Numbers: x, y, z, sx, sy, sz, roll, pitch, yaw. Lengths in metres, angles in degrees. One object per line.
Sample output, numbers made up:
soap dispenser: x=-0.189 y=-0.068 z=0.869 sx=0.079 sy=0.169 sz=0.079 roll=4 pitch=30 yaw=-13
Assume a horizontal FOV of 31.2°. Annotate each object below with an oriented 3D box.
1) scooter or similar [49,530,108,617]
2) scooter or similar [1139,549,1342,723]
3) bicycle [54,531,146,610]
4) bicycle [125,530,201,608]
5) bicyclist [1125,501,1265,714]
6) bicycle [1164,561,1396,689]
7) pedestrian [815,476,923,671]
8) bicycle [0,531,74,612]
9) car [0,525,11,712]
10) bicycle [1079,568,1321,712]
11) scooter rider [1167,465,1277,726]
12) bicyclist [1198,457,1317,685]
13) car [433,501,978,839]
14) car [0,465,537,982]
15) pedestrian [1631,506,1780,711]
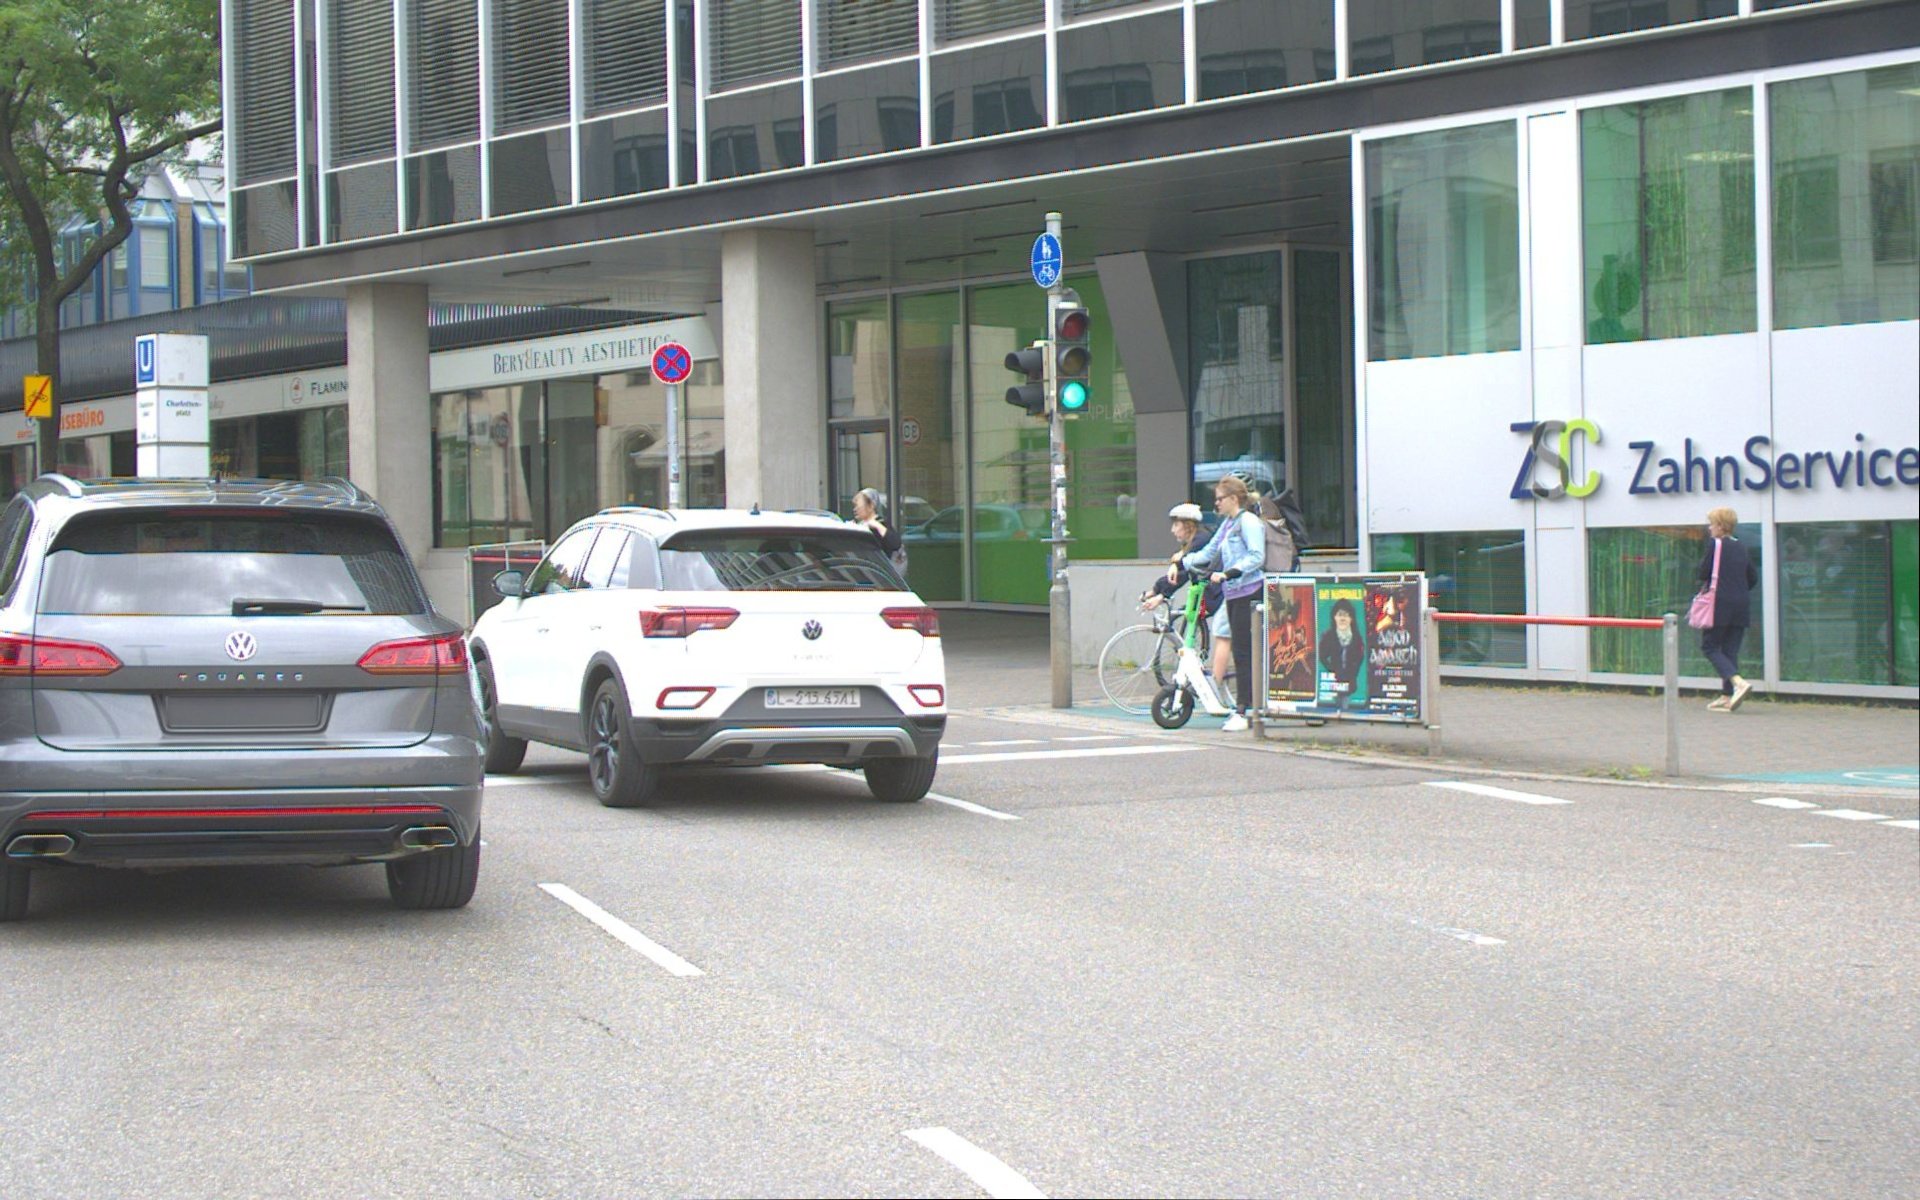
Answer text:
scooter or similar: x=-12.726 y=-0.385 z=49.634 sx=0.996 sy=1.247 sz=0.306 roll=1 pitch=2 yaw=42
scooter or similar: x=1.976 y=0.250 z=24.139 sx=1.320 sy=1.172 sz=0.593 roll=-1 pitch=2 yaw=13
bicycle: x=-12.555 y=-0.440 z=50.168 sx=0.489 sy=1.128 sz=1.886 roll=-2 pitch=2 yaw=-41
bicycle: x=-11.727 y=-0.464 z=50.539 sx=0.489 sy=1.128 sz=1.688 roll=-1 pitch=2 yaw=-35
bicyclist: x=1.746 y=0.052 z=25.471 sx=0.845 sy=1.544 sz=0.565 roll=-1 pitch=2 yaw=26
bicycle: x=2.615 y=0.196 z=28.092 sx=1.763 sy=1.003 sz=0.680 roll=0 pitch=2 yaw=20
pedestrian: x=-0.815 y=-0.233 z=30.713 sx=0.525 sy=1.705 sz=0.753 roll=-4 pitch=1 yaw=-41
bicycle: x=-13.399 y=-0.423 z=49.674 sx=0.489 sy=1.128 sz=1.843 roll=-2 pitch=2 yaw=-36
car: x=-8.791 y=0.054 z=27.196 sx=1.833 sy=1.390 sz=4.149 roll=0 pitch=3 yaw=-25
bicycle: x=1.775 y=0.296 z=25.471 sx=1.666 sy=1.023 sz=0.581 roll=-1 pitch=2 yaw=26
scooter rider: x=1.844 y=-0.037 z=24.158 sx=0.642 sy=1.802 sz=0.593 roll=-1 pitch=2 yaw=13
bicyclist: x=2.439 y=-0.241 z=28.126 sx=0.812 sy=1.839 sz=0.674 roll=0 pitch=2 yaw=19
car: x=-1.518 y=0.283 z=19.007 sx=1.797 sy=1.540 sz=3.937 roll=-2 pitch=3 yaw=-23
car: x=-3.089 y=0.333 z=13.746 sx=1.969 sy=1.689 sz=4.226 roll=-2 pitch=3 yaw=-18
pedestrian: x=5.401 y=0.049 z=24.931 sx=0.604 sy=1.438 sz=0.838 roll=-3 pitch=3 yaw=-40
